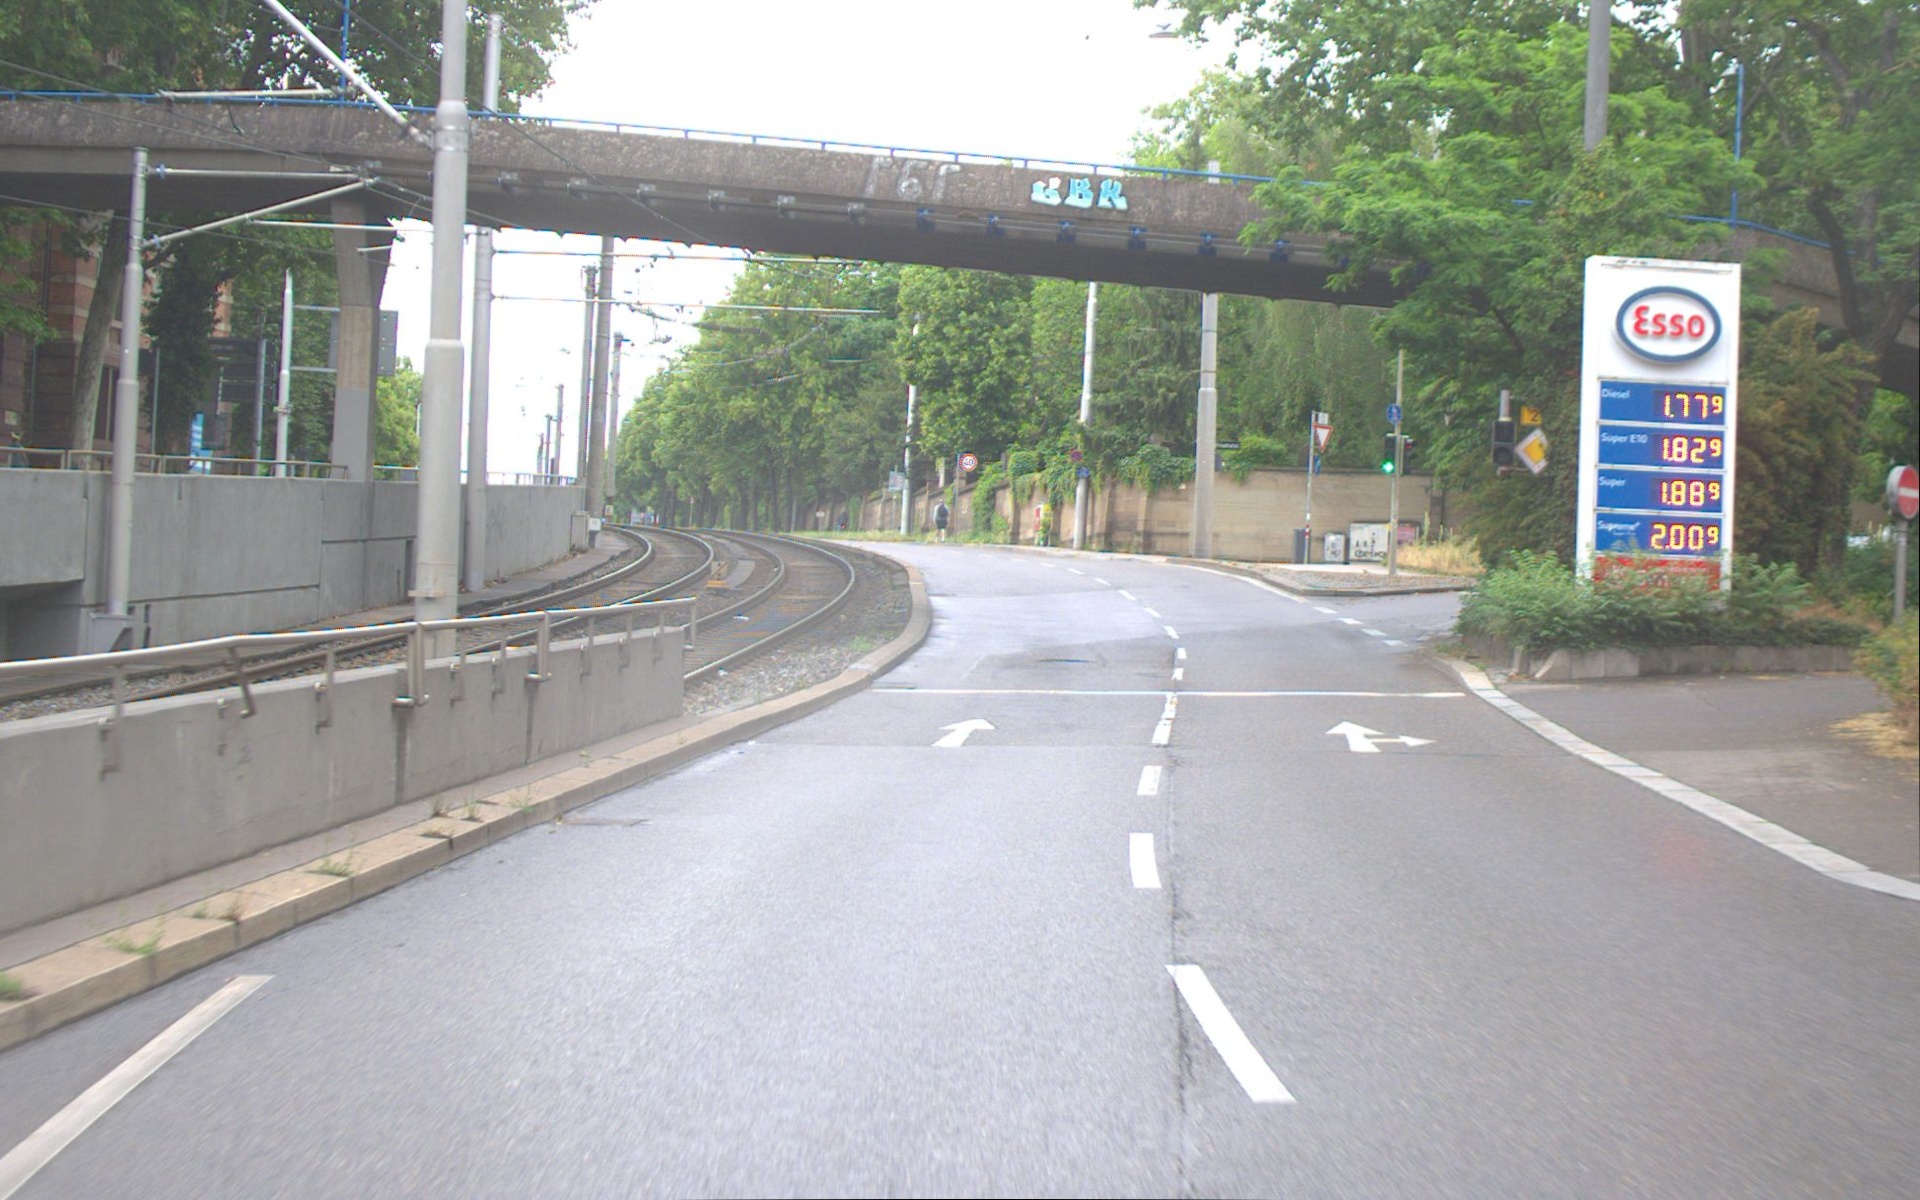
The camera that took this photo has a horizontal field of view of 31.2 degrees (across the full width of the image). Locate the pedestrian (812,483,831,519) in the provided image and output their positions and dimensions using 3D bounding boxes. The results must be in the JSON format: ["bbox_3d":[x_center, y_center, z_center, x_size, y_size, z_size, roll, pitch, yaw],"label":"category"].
[{"bbox_3d":[-6.599,-4.724,164.245,0.719,1.681,0.729,4,1,-8],"label":"pedestrian"}]

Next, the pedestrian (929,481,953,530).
[{"bbox_3d":[-0.747,-3.674,133.587,0.719,1.843,0.783,4,1,-8],"label":"pedestrian"}]

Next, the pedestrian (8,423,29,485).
[{"bbox_3d":[-20.189,-3.130,73.724,0.334,1.329,0.504,0,2,-3],"label":"pedestrian"}]
